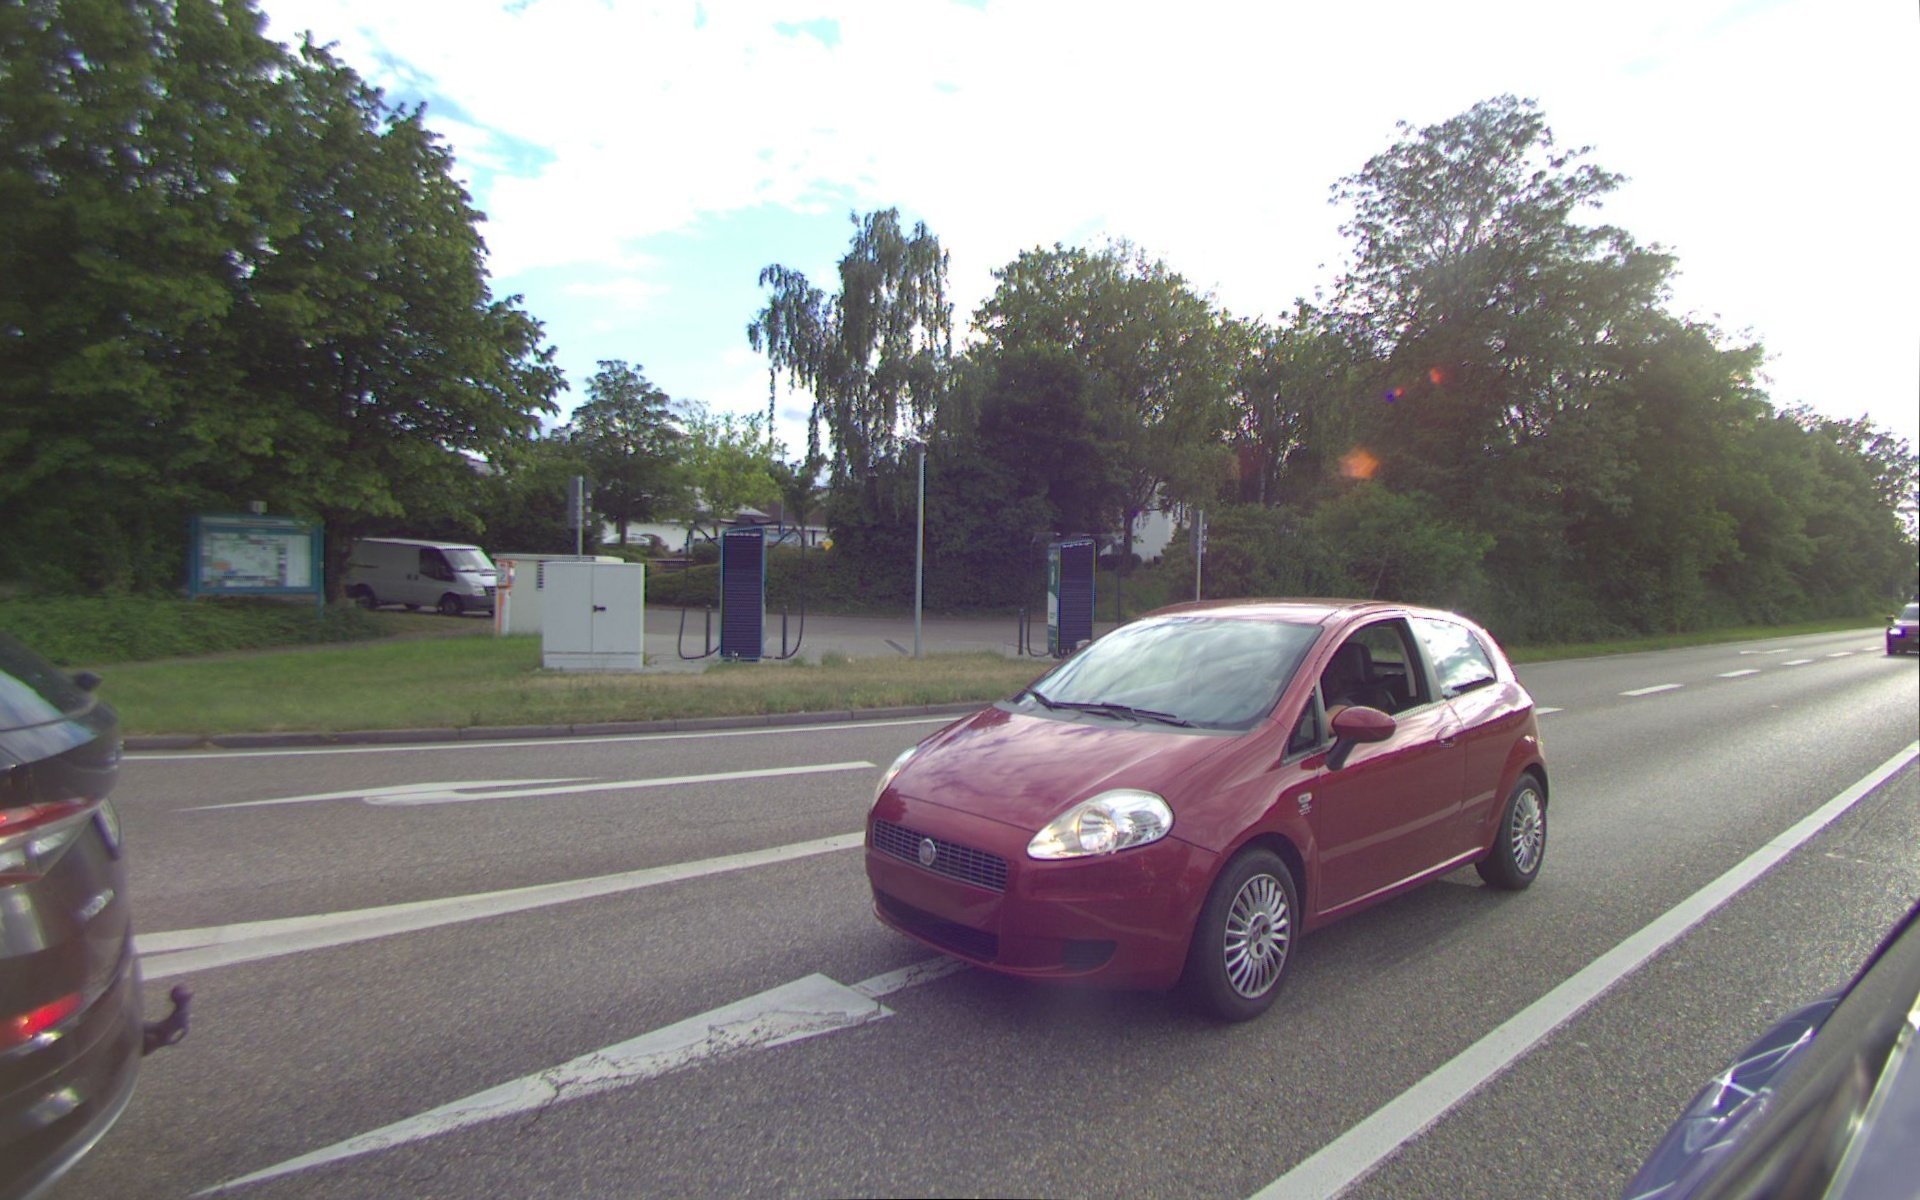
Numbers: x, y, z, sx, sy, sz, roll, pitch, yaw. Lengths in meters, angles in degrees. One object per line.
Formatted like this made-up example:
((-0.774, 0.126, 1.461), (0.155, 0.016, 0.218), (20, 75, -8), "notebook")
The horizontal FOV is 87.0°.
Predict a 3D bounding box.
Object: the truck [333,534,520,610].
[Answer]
((-14.893, -0.779, 28.296), (4.602, 2.022, 1.816), (1, 0, 14), "truck")

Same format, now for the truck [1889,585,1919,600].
((174.611, -1.322, 184.658), (2.933, 2.717, 7.168), (-1, 1, -34), "truck")

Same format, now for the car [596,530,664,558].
((-21.023, -3.534, 64.450), (3.965, 1.582, 1.979), (0, 0, 30), "car")

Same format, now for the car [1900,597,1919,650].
((27.625, 0.629, 28.231), (3.931, 1.433, 1.699), (0, 1, -42), "car")

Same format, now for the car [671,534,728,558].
((-17.508, -3.595, 68.001), (1.968, 1.382, 3.989), (-1, 1, -45), "car")

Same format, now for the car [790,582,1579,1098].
((1.324, 0.660, 4.784), (3.925, 1.450, 1.665), (0, 1, -42), "car")

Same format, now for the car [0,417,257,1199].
((-3.490, 0.552, 1.021), (4.403, 1.671, 1.847), (0, 0, -42), "car")
